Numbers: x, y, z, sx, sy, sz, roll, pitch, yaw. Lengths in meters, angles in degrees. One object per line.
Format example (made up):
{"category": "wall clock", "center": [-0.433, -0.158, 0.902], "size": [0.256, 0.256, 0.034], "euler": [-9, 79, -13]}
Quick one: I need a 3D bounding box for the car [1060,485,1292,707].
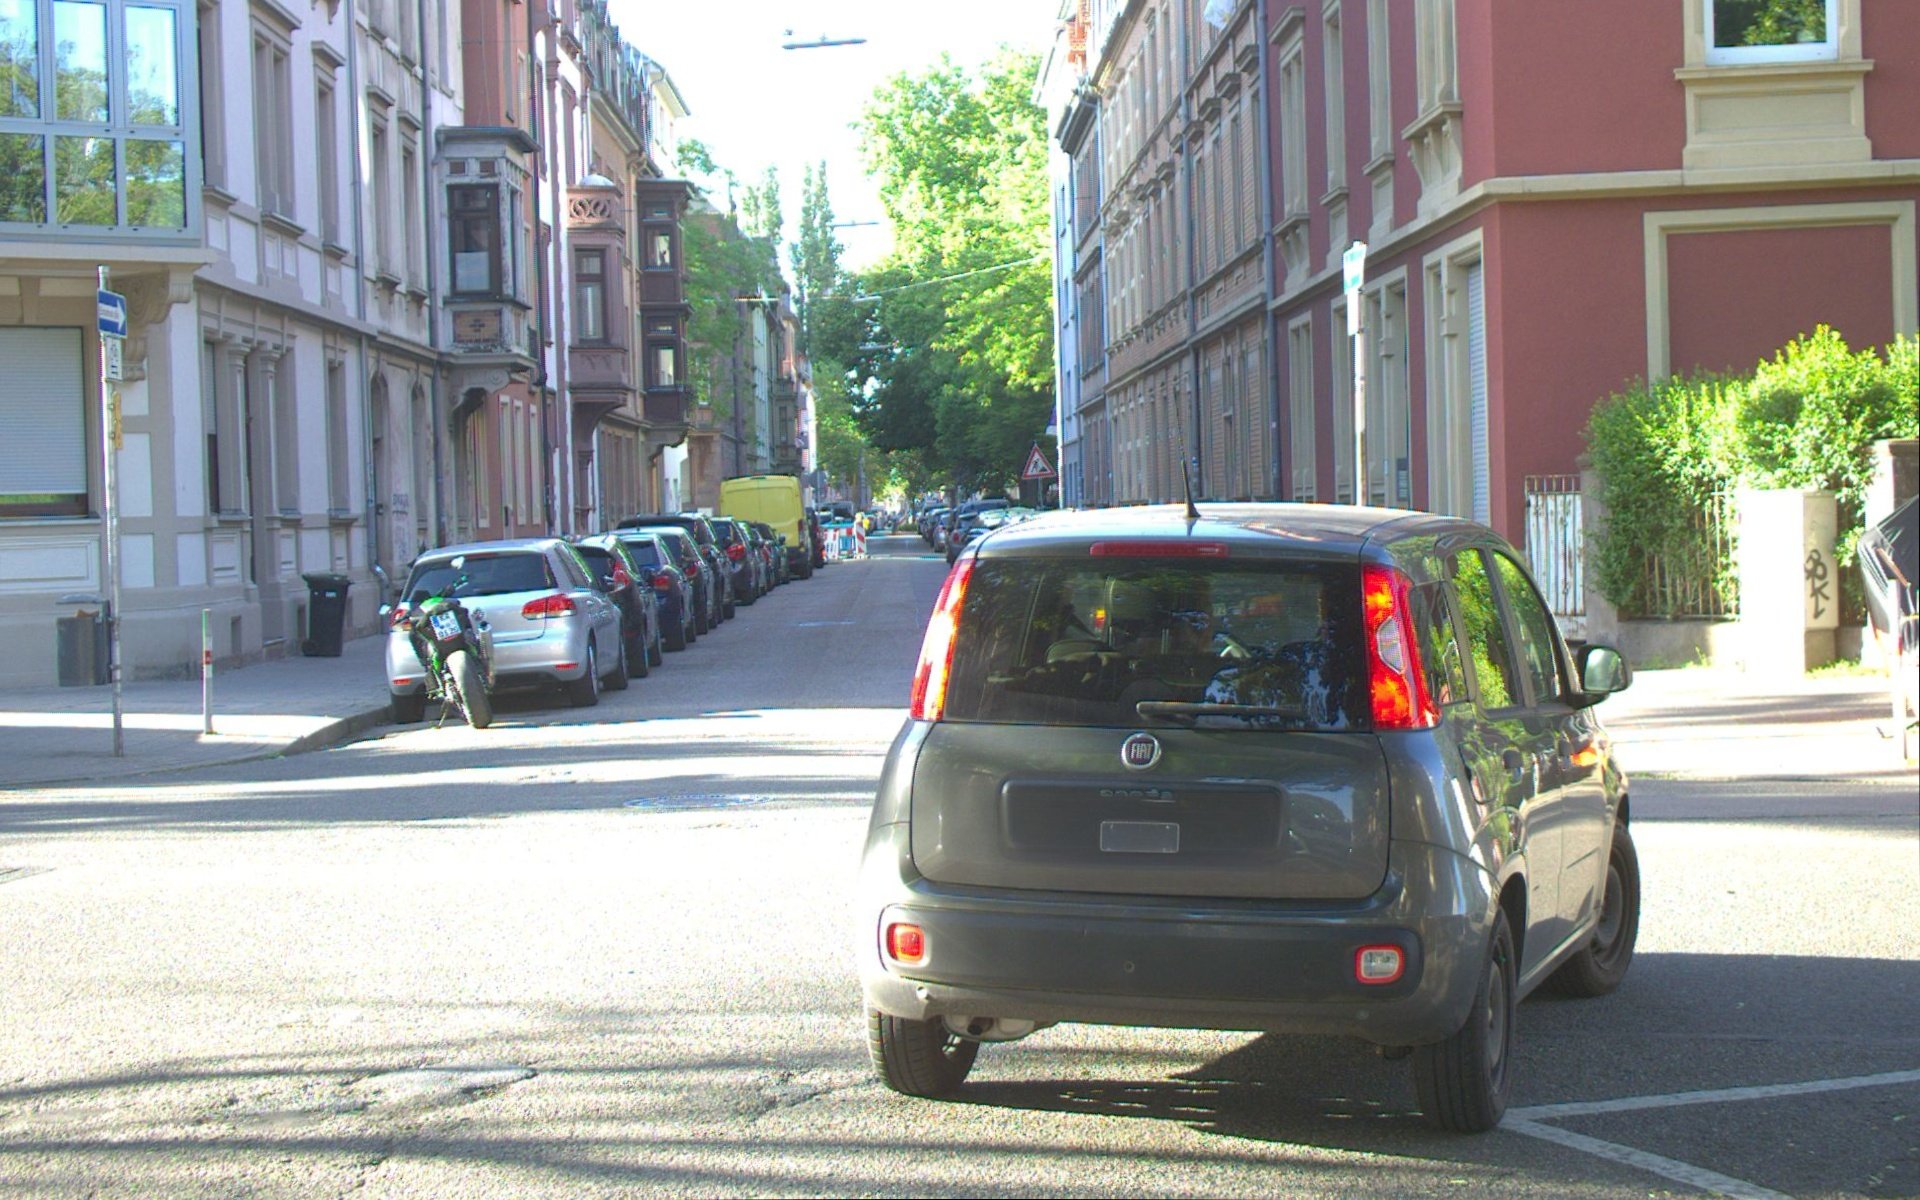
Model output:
{"category": "car", "center": [1.695, -0.092, 28.026], "size": [1.663, 1.663, 3.757], "euler": [0, 2, 0]}

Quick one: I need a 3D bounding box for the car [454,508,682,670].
{"category": "car", "center": [-3.984, -0.162, 35.551], "size": [1.777, 1.408, 3.925], "euler": [-5, 2, 0]}

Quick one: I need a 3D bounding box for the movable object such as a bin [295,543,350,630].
{"category": "movable object such as a bin", "center": [-7.105, -0.152, 38.343], "size": [0.511, 0.949, 0.501], "euler": [-2, 2, -3]}

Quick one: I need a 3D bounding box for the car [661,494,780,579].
{"category": "car", "center": [-4.772, -1.297, 68.955], "size": [1.962, 1.474, 3.925], "euler": [-5, 2, 0]}

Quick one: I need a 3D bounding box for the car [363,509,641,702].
{"category": "car", "center": [-3.979, -0.006, 30.467], "size": [1.797, 1.427, 3.925], "euler": [-5, 2, 0]}

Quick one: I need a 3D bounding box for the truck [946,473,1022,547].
{"category": "truck", "center": [0.655, -2.559, 96.768], "size": [1.993, 1.985, 4.001], "euler": [-2, 2, -1]}

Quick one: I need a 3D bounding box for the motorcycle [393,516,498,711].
{"category": "motorcycle", "center": [-4.078, 0.081, 27.169], "size": [0.696, 1.455, 1.751], "euler": [-3, 2, -10]}

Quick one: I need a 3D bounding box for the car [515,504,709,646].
{"category": "car", "center": [-4.175, -0.343, 41.766], "size": [1.825, 1.462, 3.925], "euler": [-5, 2, 0]}

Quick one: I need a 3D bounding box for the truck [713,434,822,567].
{"category": "truck", "center": [-4.618, -2.410, 83.040], "size": [2.070, 2.915, 5.068], "euler": [-5, 2, 0]}

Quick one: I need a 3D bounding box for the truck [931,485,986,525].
{"category": "truck", "center": [-0.074, -3.636, 130.947], "size": [1.993, 1.451, 4.001], "euler": [-2, 2, -1]}

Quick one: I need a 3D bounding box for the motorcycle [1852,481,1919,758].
{"category": "motorcycle", "center": [5.665, 0.065, 19.513], "size": [1.020, 1.399, 2.191], "euler": [-1, 4, 12]}

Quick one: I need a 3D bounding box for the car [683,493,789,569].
{"category": "car", "center": [-4.921, -1.545, 75.960], "size": [1.962, 1.474, 3.925], "euler": [-5, 2, 0]}

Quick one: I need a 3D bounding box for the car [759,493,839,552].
{"category": "car", "center": [-4.589, -2.241, 98.319], "size": [1.962, 1.474, 3.925], "euler": [-5, 2, 0]}

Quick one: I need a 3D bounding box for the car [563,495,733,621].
{"category": "car", "center": [-4.203, -0.611, 46.863], "size": [1.828, 1.474, 3.925], "euler": [-5, 2, 0]}

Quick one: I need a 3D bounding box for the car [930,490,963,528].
{"category": "car", "center": [-0.583, -4.032, 151.973], "size": [1.367, 1.612, 3.414], "euler": [-2, 2, 0]}

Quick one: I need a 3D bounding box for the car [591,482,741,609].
{"category": "car", "center": [-4.410, -0.860, 52.016], "size": [1.775, 1.693, 3.925], "euler": [-5, 2, 0]}

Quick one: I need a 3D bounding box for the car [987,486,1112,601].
{"category": "car", "center": [1.218, -0.819, 48.100], "size": [1.663, 1.527, 3.757], "euler": [0, 2, 0]}

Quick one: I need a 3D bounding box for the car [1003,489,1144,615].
{"category": "car", "center": [1.400, -0.643, 43.513], "size": [1.663, 1.500, 3.757], "euler": [0, 2, 0]}

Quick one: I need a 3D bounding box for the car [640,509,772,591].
{"category": "car", "center": [-4.492, -0.923, 61.309], "size": [1.962, 1.220, 3.925], "euler": [-5, 2, 0]}

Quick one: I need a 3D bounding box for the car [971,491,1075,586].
{"category": "car", "center": [1.024, -1.043, 57.185], "size": [1.663, 1.500, 3.757], "euler": [0, 2, 0]}

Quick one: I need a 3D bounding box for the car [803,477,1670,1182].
{"category": "car", "center": [0.925, 0.456, 9.554], "size": [1.634, 1.544, 3.262], "euler": [1, 3, 19]}

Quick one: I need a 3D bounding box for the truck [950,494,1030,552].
{"category": "truck", "center": [0.775, -2.066, 91.399], "size": [1.993, 1.451, 4.001], "euler": [-2, 2, -1]}

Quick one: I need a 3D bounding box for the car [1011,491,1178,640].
{"category": "car", "center": [1.405, -0.409, 37.114], "size": [1.663, 1.500, 3.757], "euler": [0, 2, 0]}

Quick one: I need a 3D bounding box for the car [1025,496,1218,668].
{"category": "car", "center": [1.475, -0.216, 32.518], "size": [1.663, 1.500, 3.757], "euler": [0, 2, 0]}
